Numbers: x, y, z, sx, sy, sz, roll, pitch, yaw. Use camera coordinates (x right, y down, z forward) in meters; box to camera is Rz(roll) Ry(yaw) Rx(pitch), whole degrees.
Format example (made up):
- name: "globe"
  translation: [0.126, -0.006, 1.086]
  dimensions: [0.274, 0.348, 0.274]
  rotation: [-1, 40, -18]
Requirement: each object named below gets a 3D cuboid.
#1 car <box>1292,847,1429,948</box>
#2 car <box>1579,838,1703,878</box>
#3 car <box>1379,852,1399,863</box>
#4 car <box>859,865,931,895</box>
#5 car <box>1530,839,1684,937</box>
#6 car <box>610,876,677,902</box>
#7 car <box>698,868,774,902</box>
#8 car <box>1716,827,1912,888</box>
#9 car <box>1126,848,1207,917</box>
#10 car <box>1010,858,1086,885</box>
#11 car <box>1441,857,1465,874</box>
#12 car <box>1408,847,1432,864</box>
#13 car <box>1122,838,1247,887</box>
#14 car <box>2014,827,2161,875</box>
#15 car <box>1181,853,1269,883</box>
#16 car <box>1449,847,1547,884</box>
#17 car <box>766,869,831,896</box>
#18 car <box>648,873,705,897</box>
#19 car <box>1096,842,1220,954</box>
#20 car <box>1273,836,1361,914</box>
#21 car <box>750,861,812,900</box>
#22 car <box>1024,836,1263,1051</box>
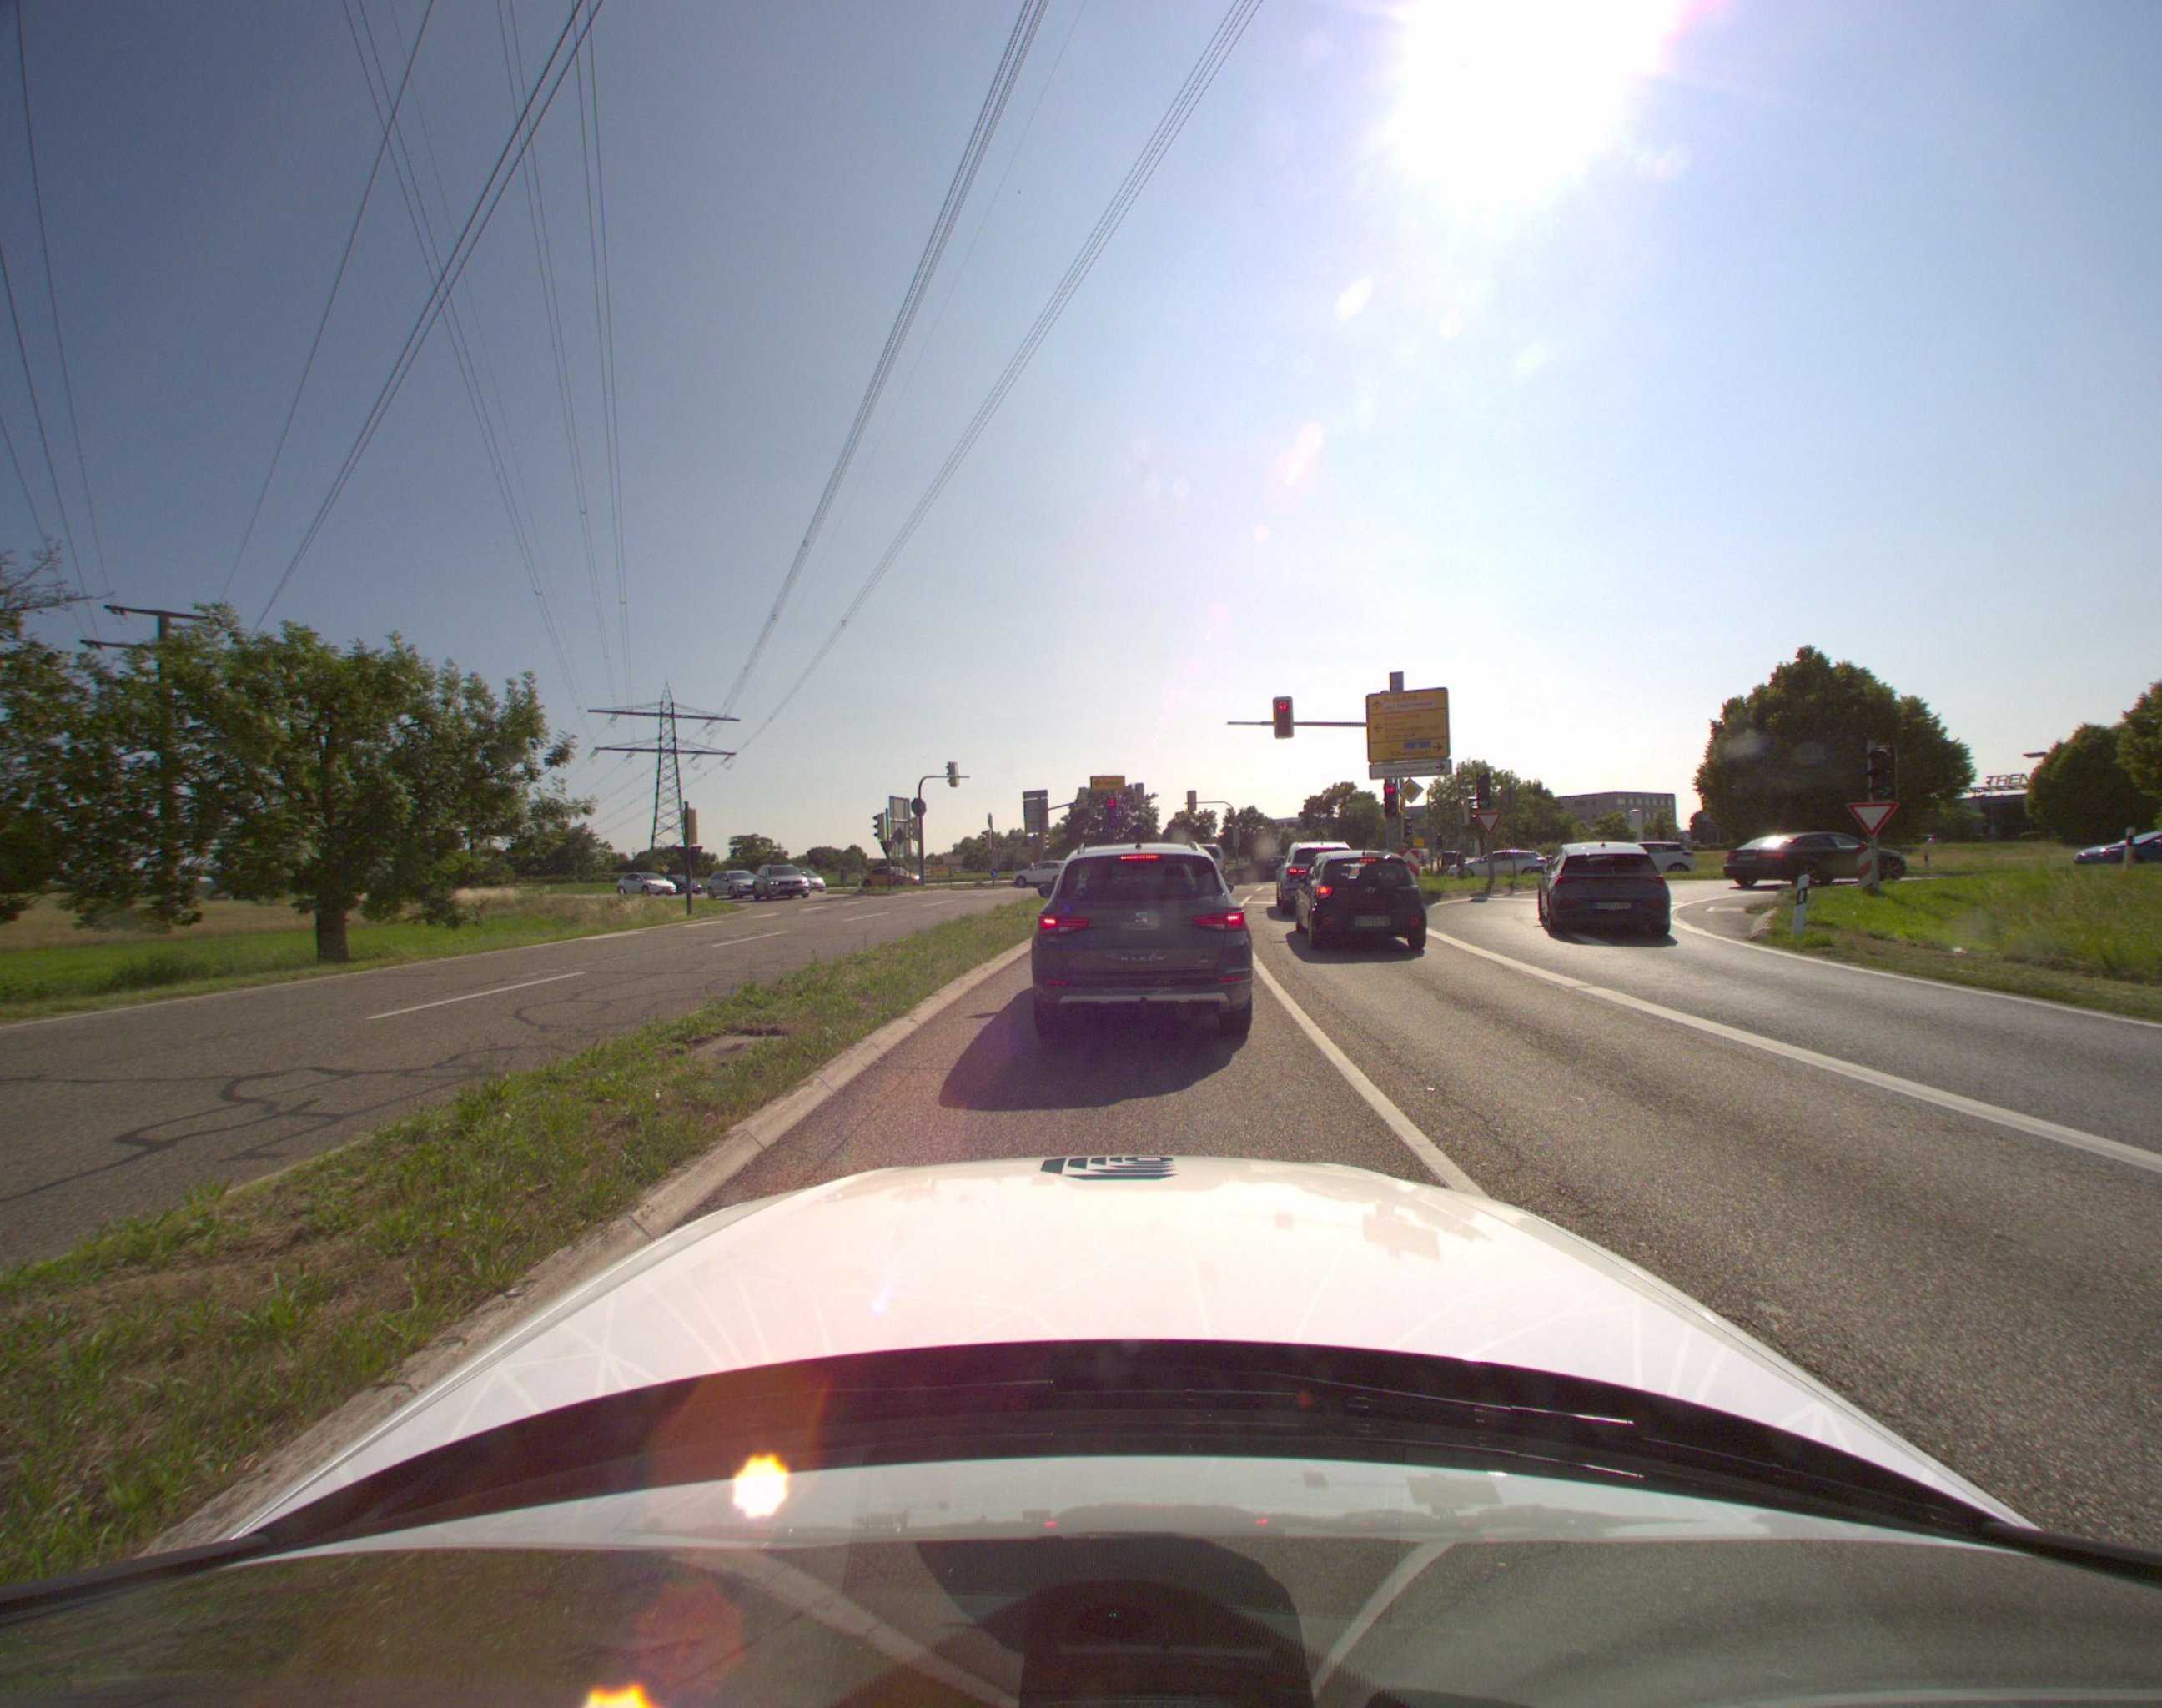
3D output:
- name: "car"
  translation: [4.435, 0.627, 13.362]
  dimensions: [1.623, 1.448, 3.304]
  rotation: [-1, 0, 10]
- name: "car"
  translation: [21.607, 0.163, 31.600]
  dimensions: [3.862, 1.465, 1.734]
  rotation: [-1, 0, 32]
- name: "car"
  translation: [45.274, 0.531, 119.742]
  dimensions: [1.695, 1.548, 3.633]
  rotation: [0, 0, 41]
- name: "car"
  translation: [-11.021, 1.531, 48.270]
  dimensions: [3.948, 1.651, 1.832]
  rotation: [-2, -1, 31]
- name: "car"
  translation: [9.492, 0.507, 15.026]
  dimensions: [1.757, 1.517, 4.123]
  rotation: [-1, 1, 24]
- name: "car"
  translation: [-29.777, 2.402, 55.442]
  dimensions: [4.700, 1.651, 1.832]
  rotation: [-2, -1, 31]
- name: "car"
  translation: [-18.003, 1.627, 42.472]
  dimensions: [3.948, 1.651, 1.832]
  rotation: [-2, -1, 36]
- name: "car"
  translation: [19.292, 0.072, 21.505]
  dimensions: [3.984, 1.385, 1.642]
  rotation: [-2, 0, -8]
- name: "car"
  translation: [2.102, 0.622, 19.377]
  dimensions: [1.732, 1.484, 3.633]
  rotation: [0, 0, 8]
- name: "car"
  translation: [-2.010, 1.070, 49.797]
  dimensions: [4.280, 1.519, 1.819]
  rotation: [-2, -1, 29]
- name: "car"
  translation: [37.505, 1.163, 82.052]
  dimensions: [1.859, 1.673, 3.793]
  rotation: [0, 0, 28]
- name: "car"
  translation: [37.046, 0.131, 88.961]
  dimensions: [1.699, 1.819, 3.801]
  rotation: [0, 0, 33]
- name: "car"
  translation: [4.417, 0.317, 34.625]
  dimensions: [4.954, 1.918, 1.984]
  rotation: [-1, 0, -24]
- name: "car"
  translation: [35.210, -0.089, 27.908]
  dimensions: [3.831, 1.519, 1.819]
  rotation: [-2, -1, 29]
- name: "car"
  translation: [7.792, 0.756, 44.022]
  dimensions: [4.280, 1.519, 1.819]
  rotation: [-2, -1, 29]
- name: "car"
  translation: [19.073, 0.531, 37.290]
  dimensions: [3.831, 1.519, 1.819]
  rotation: [-2, -1, 29]
- name: "car"
  translation: [-18.416, 1.873, 52.977]
  dimensions: [3.948, 1.651, 1.832]
  rotation: [-2, -1, 31]
- name: "car"
  translation: [-29.451, 2.246, 59.221]
  dimensions: [3.948, 1.651, 1.832]
  rotation: [-2, -1, 31]
- name: "car"
  translation: [1.205, 0.630, 13.245]
  dimensions: [1.734, 1.569, 3.628]
  rotation: [0, 0, 4]
- name: "car"
  translation: [5.550, 0.470, 19.525]
  dimensions: [1.623, 1.677, 3.760]
  rotation: [-1, 0, 10]
- name: "car"
  translation: [-13.880, 1.203, 37.563]
  dimensions: [1.827, 1.651, 3.959]
  rotation: [-1, -1, -32]
- name: "car"
  translation: [0.555, 0.658, 7.806]
  dimensions: [1.735, 1.569, 3.627]
  rotation: [-1, 0, 3]
